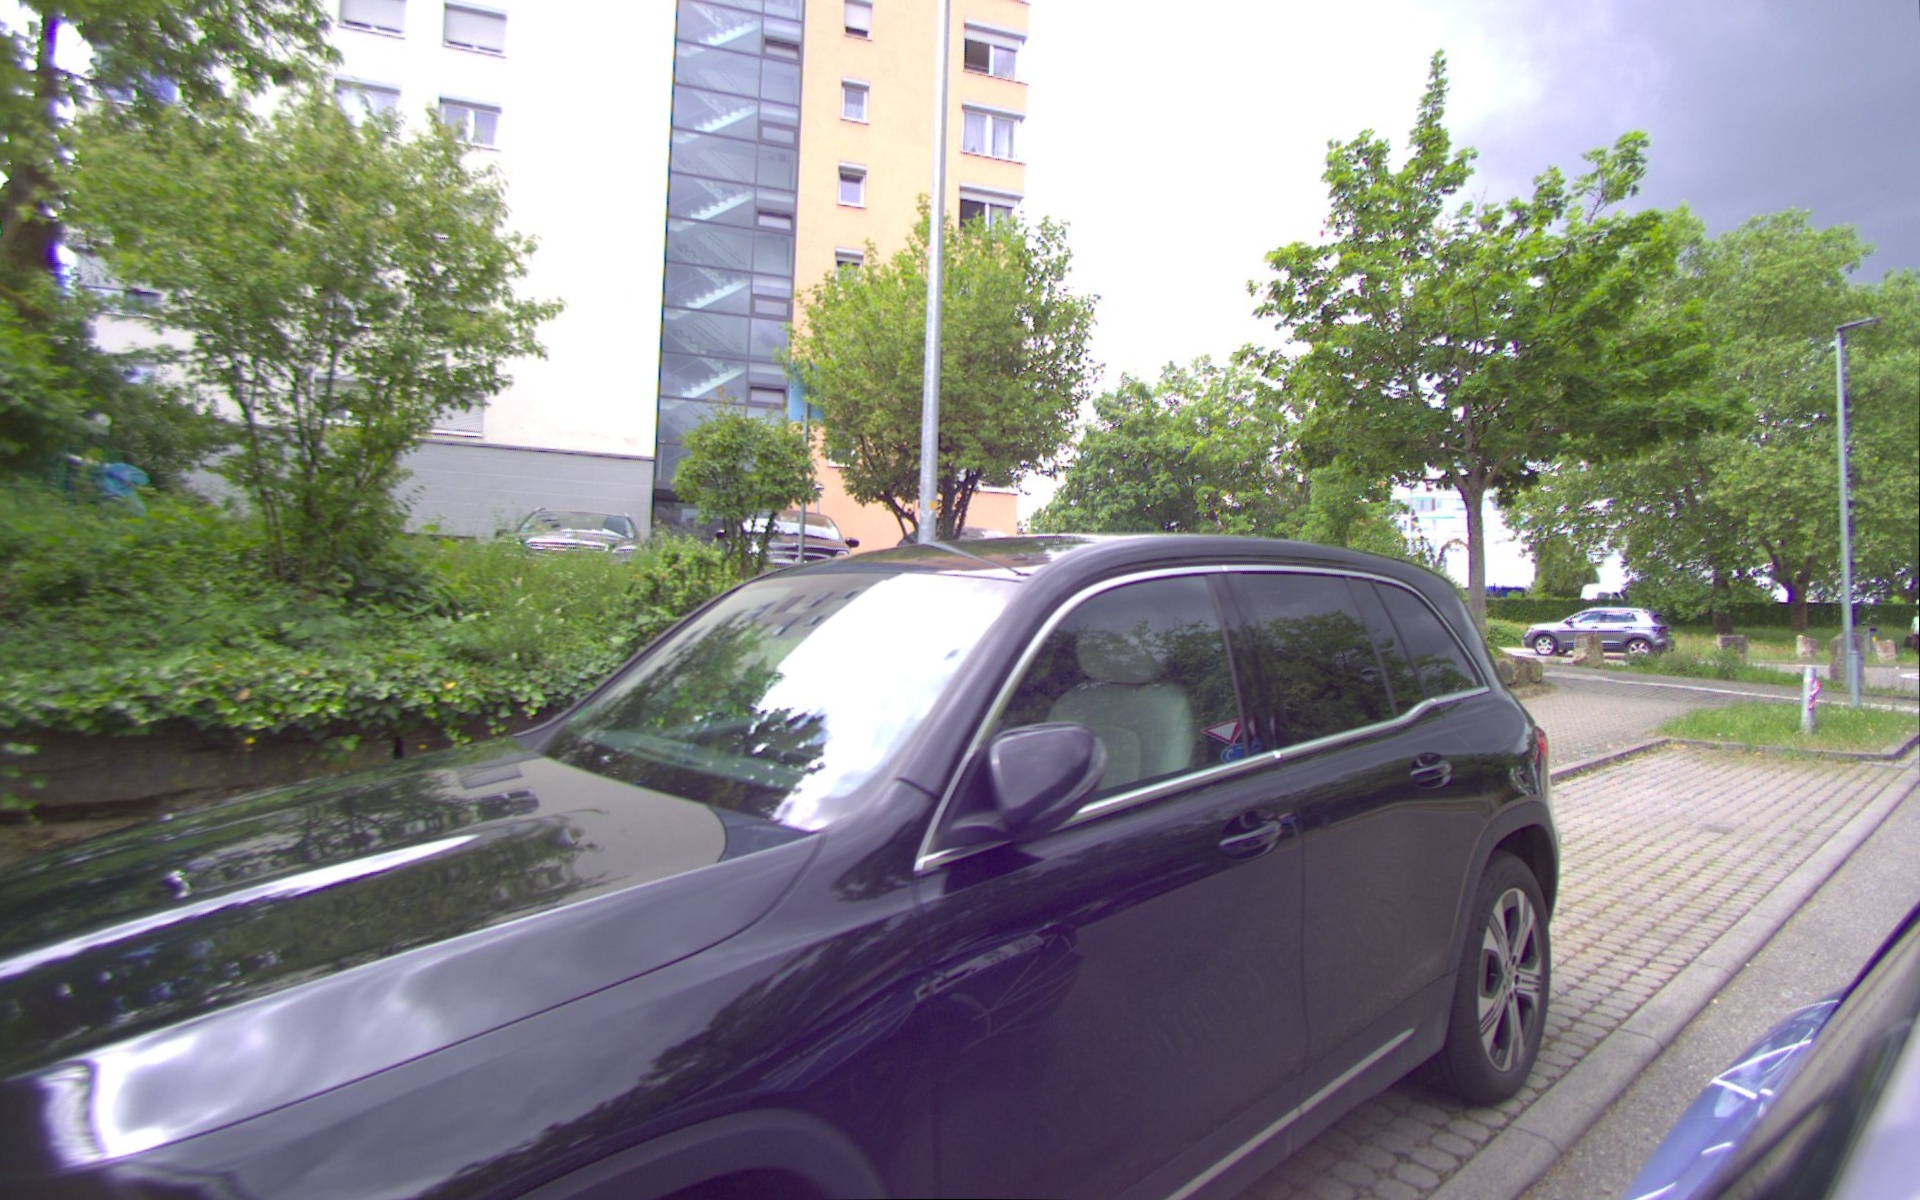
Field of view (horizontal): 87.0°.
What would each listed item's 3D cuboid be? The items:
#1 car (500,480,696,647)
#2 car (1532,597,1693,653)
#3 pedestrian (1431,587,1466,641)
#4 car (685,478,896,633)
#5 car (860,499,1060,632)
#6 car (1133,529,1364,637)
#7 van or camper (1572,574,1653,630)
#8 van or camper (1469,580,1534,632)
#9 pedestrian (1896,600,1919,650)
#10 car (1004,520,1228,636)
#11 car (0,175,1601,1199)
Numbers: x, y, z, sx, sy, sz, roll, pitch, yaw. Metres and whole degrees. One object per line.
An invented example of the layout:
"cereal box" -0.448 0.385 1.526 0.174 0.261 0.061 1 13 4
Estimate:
"car" -4.581 -0.275 12.732 1.904 1.690 4.565 1 -3 -21
"car" 20.280 0.728 31.557 1.694 1.638 3.998 1 0 -45
"pedestrian" 15.967 0.459 33.075 0.602 1.685 0.842 1 3 -5
"car" -2.339 -0.406 13.058 1.904 1.635 4.006 1 -3 -21
"car" -0.146 -0.347 13.828 1.649 1.517 3.668 1 -3 -19
"car" 4.323 -0.157 15.747 1.649 1.458 3.668 1 -3 -19
"van or camper" 34.836 0.157 54.179 2.082 2.835 4.461 0 -3 12
"van or camper" 31.354 0.414 58.753 2.082 2.835 4.461 0 -3 12
"pedestrian" 32.720 0.850 34.574 0.580 1.678 0.873 1 -3 -25
"car" 2.096 -0.202 14.744 1.649 1.440 3.806 1 -3 -19
"car" 0.004 0.557 2.646 4.296 1.699 1.815 1 -1 -43
